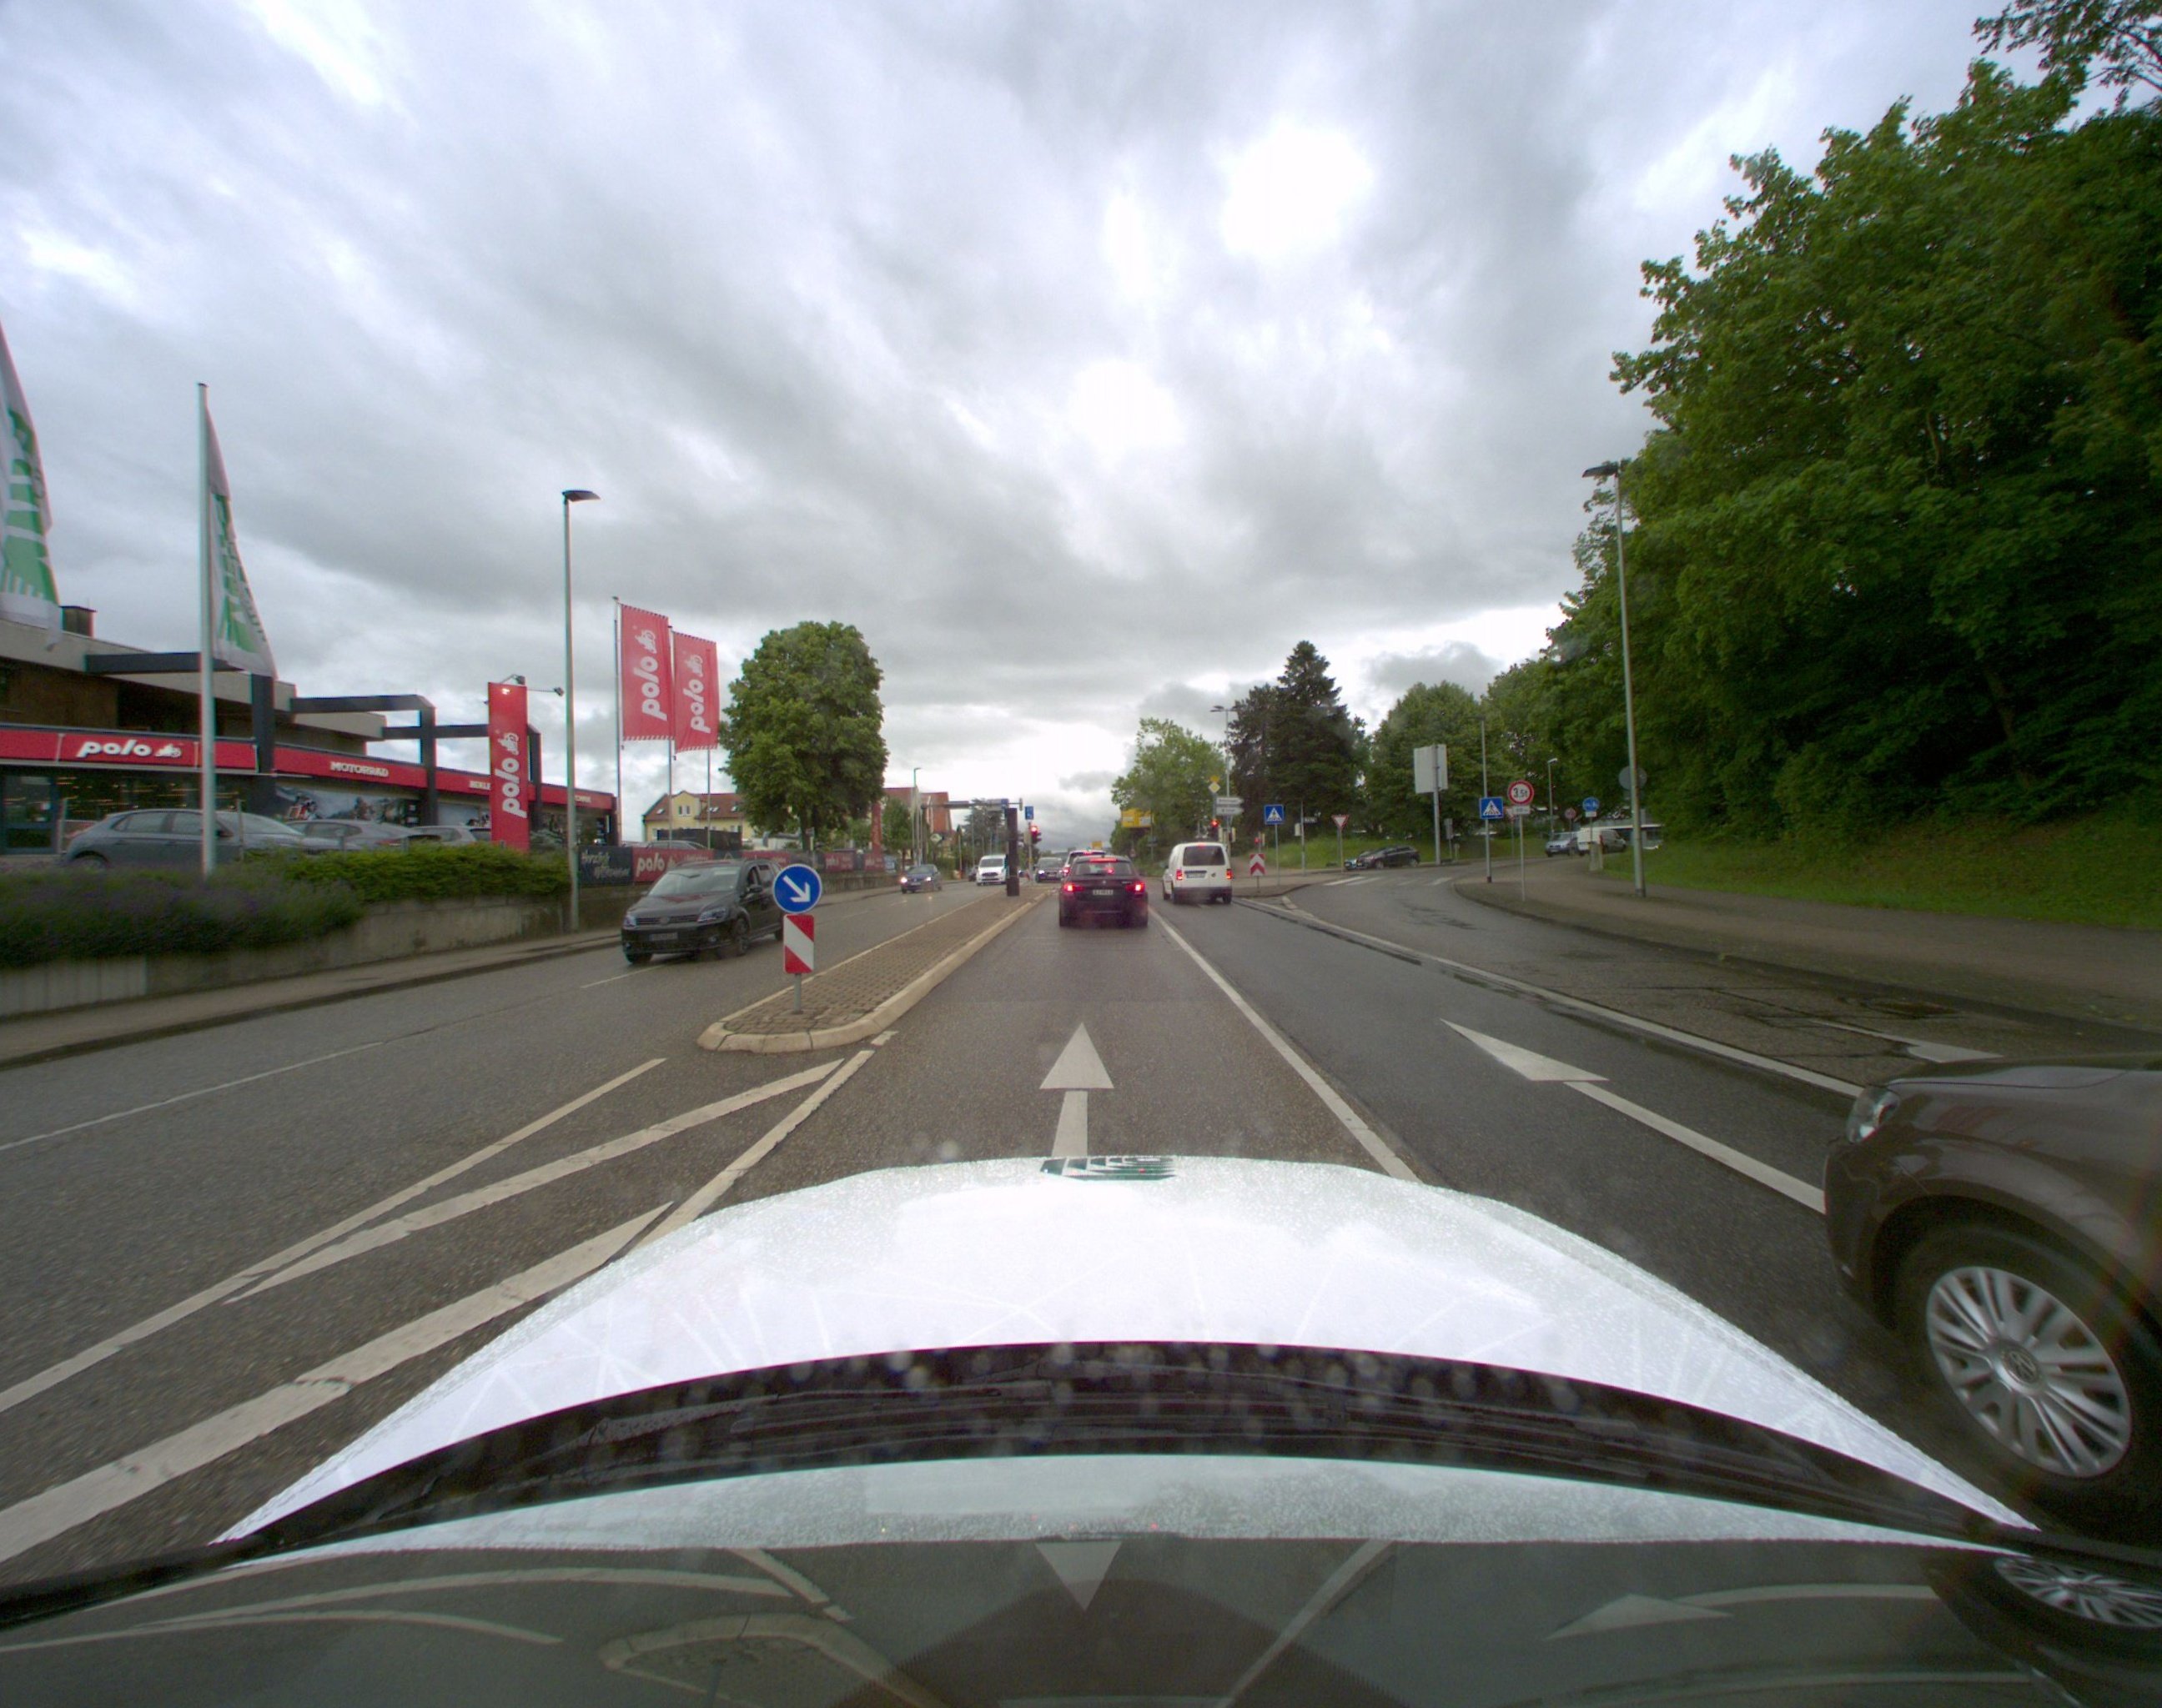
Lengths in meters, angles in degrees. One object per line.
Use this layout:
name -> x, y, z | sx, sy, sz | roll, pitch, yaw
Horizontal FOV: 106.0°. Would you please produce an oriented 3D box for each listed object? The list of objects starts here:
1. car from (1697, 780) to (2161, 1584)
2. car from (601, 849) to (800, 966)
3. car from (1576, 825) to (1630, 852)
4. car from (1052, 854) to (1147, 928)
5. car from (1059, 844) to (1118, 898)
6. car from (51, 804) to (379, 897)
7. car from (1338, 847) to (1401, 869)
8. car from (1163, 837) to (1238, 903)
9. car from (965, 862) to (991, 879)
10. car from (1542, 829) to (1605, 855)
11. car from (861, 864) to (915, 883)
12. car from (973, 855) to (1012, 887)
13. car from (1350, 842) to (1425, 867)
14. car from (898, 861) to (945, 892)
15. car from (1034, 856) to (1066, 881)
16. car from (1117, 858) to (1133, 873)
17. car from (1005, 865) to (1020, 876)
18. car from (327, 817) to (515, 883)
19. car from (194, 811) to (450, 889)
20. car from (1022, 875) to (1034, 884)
car -> 2.989, 0.654, 0.764 | 1.708, 1.596, 4.130 | -1, 1, 0
car -> -6.481, 0.812, 14.439 | 1.753, 1.677, 4.142 | -3, 0, -4
car -> 36.483, -1.092, 56.925 | 3.963, 1.708, 1.800 | -3, 1, -36
car -> 0.484, 0.727, 17.848 | 1.847, 1.419, 3.960 | 0, 0, 3
car -> 0.314, 0.533, 27.478 | 1.720, 1.711, 3.386 | -1, 0, 4
car -> -15.615, -0.071, 14.887 | 3.822, 1.482, 1.738 | -2, 0, -7
car -> 20.528, 0.272, 57.967 | 3.997, 1.294, 1.599 | -3, 1, -18
car -> 3.605, 0.448, 25.195 | 1.736, 1.869, 3.945 | -1, 0, 0
car -> -9.002, 1.411, 71.297 | 1.662, 1.382, 4.072 | -2, 0, 0
car -> 37.761, -0.910, 62.384 | 4.752, 1.851, 1.885 | -2, 1, -26
car -> -16.801, 1.651, 70.931 | 4.216, 1.456, 1.785 | -2, 0, -27
car -> -5.438, 1.014, 50.566 | 1.852, 1.823, 4.577 | -4, 0, -1
car -> 20.522, 0.048, 54.653 | 4.316, 1.467, 1.895 | -2, 0, -9
car -> -8.316, 1.155, 42.665 | 1.629, 1.381, 3.764 | -3, 0, 0
car -> -1.947, 0.873, 51.451 | 1.890, 1.456, 4.093 | -2, -1, -2
car -> 4.604, 1.172, 85.599 | 1.594, 1.371, 3.683 | -2, 1, 3
car -> -9.711, 2.304, 115.834 | 1.662, 1.354, 3.442 | -2, 0, 0
car -> -16.730, -0.103, 20.755 | 3.404, 1.509, 1.582 | -2, 0, 0
car -> -16.133, -0.093, 17.496 | 3.643, 1.482, 1.738 | -2, 0, -7
car -> -8.698, 4.171, 133.818 | 1.662, 1.354, 3.442 | -2, 0, 0
